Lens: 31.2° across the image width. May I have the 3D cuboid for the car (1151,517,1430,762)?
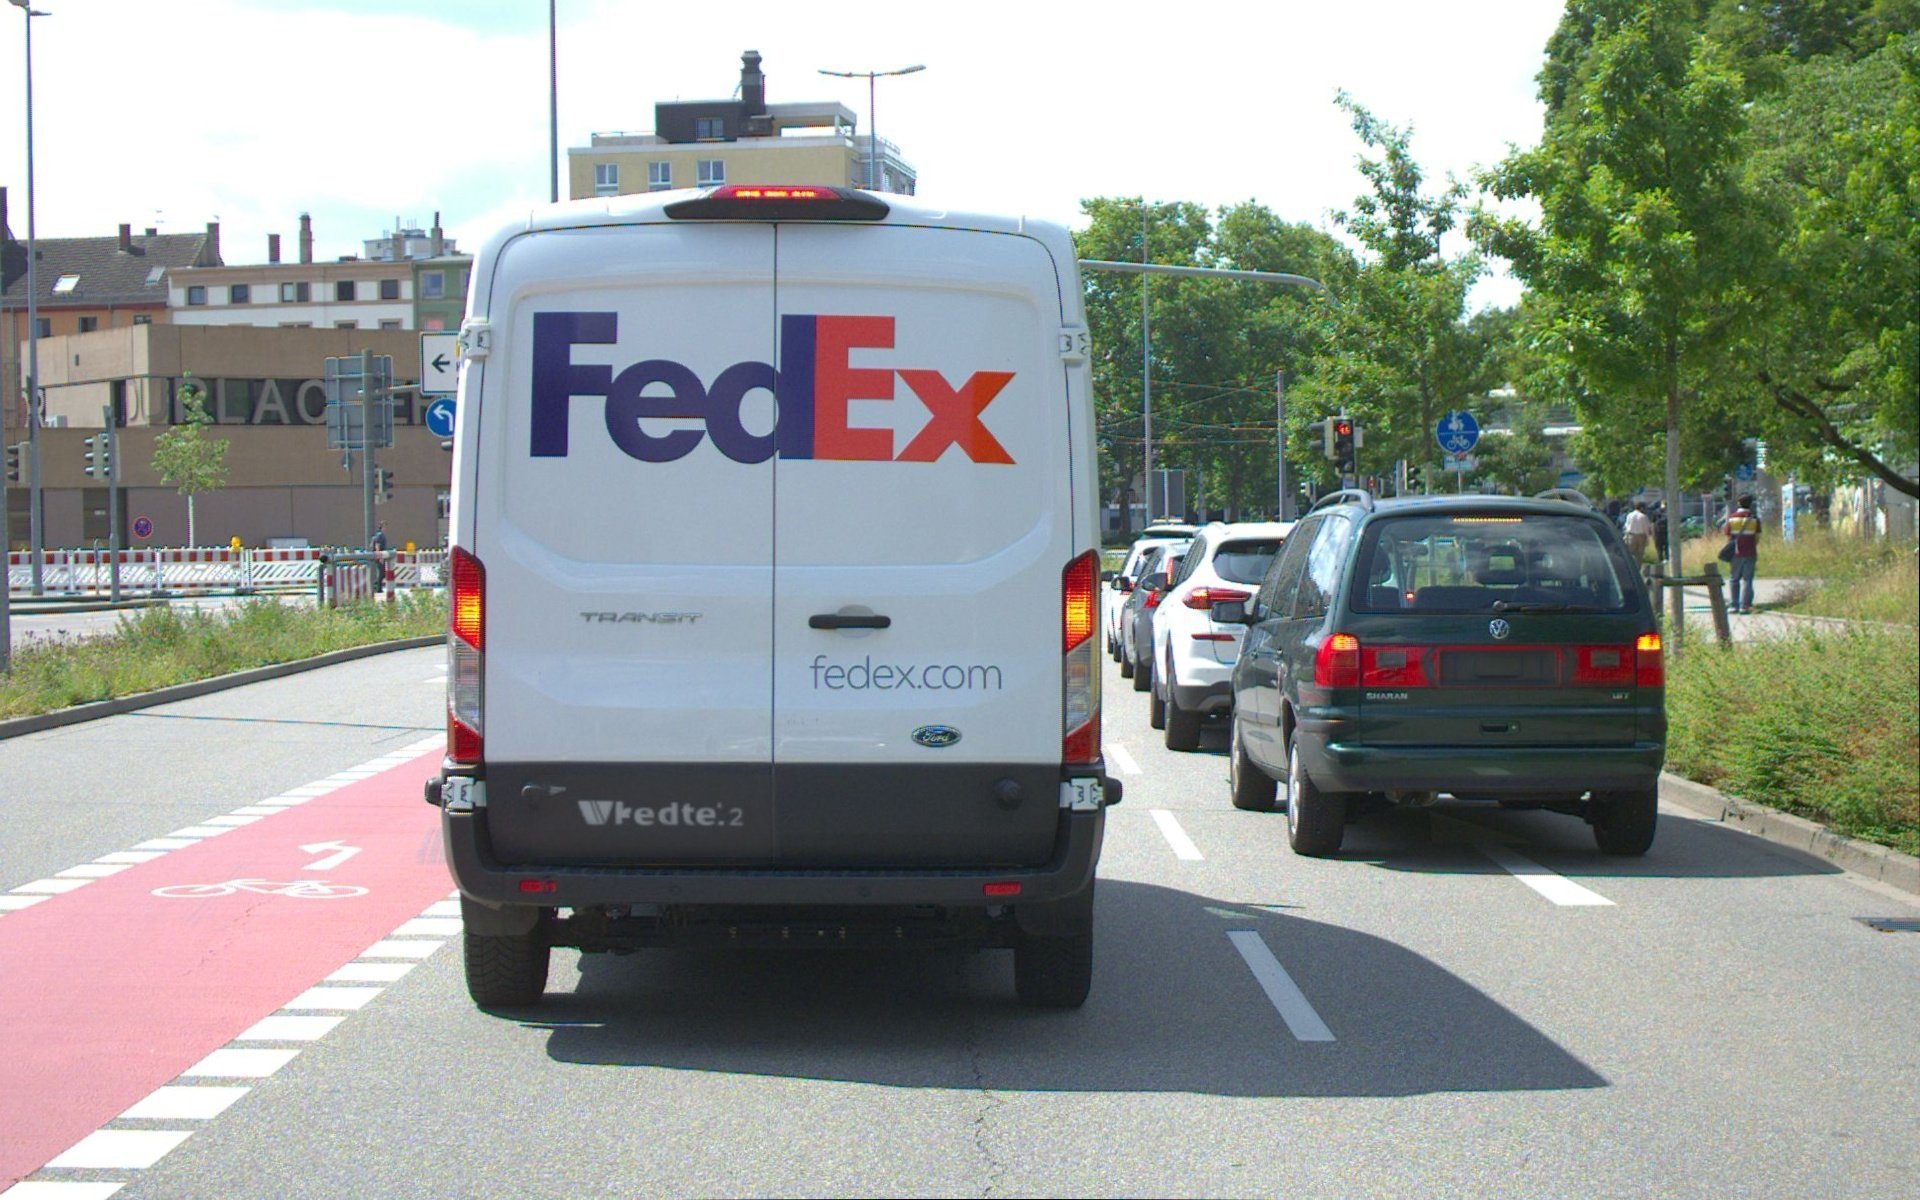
[{"bbox_3d":[2.408,0.227,25.882,1.798,1.681,4.000,0,1,1],"label":"car"}]

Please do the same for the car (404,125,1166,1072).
[{"bbox_3d":[-0.709,-0.058,12.519,2.140,2.643,5.705,0,1,-5],"label":"car"}]

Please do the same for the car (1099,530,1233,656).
[{"bbox_3d":[2.451,-0.112,41.441,1.484,1.423,3.433,0,1,1],"label":"car"}]

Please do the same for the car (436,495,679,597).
[{"bbox_3d":[-8.266,-1.117,70.543,4.627,2.007,2.100,-1,1,-17],"label":"car"}]

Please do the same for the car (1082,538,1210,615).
[{"bbox_3d":[4.495,-0.581,82.528,1.995,1.787,4.368,-1,1,18],"label":"car"}]

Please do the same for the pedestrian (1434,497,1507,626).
[{"bbox_3d":[7.578,-0.575,51.101,0.950,1.886,0.774,-1,1,-1],"label":"pedestrian"}]

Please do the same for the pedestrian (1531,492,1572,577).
[{"bbox_3d":[13.214,-1.474,76.780,0.679,1.886,0.574,1,2,44],"label":"pedestrian"}]

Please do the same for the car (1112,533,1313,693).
[{"bbox_3d":[2.452,0.083,34.164,1.798,1.456,3.838,0,1,1],"label":"car"}]

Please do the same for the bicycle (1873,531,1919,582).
[{"bbox_3d":[17.869,-0.815,64.186,1.572,0.952,0.485,0,1,19],"label":"bicycle"}]

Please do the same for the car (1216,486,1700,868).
[{"bbox_3d":[2.424,0.294,17.804,1.812,1.728,4.389,0,1,-1],"label":"car"}]

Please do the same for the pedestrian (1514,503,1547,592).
[{"bbox_3d":[12.193,-1.135,73.514,0.574,1.886,0.679,-1,1,-1],"label":"pedestrian"}]

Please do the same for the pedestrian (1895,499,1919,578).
[{"bbox_3d":[17.936,-1.158,64.147,0.900,1.467,0.485,0,1,19],"label":"pedestrian"}]

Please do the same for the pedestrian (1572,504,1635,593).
[{"bbox_3d":[10.209,-0.825,54.575,0.845,1.384,0.741,-1,1,-1],"label":"pedestrian"}]

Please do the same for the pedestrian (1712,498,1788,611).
[{"bbox_3d":[10.958,-0.636,47.708,0.845,1.533,0.835,-1,1,-1],"label":"pedestrian"}]
